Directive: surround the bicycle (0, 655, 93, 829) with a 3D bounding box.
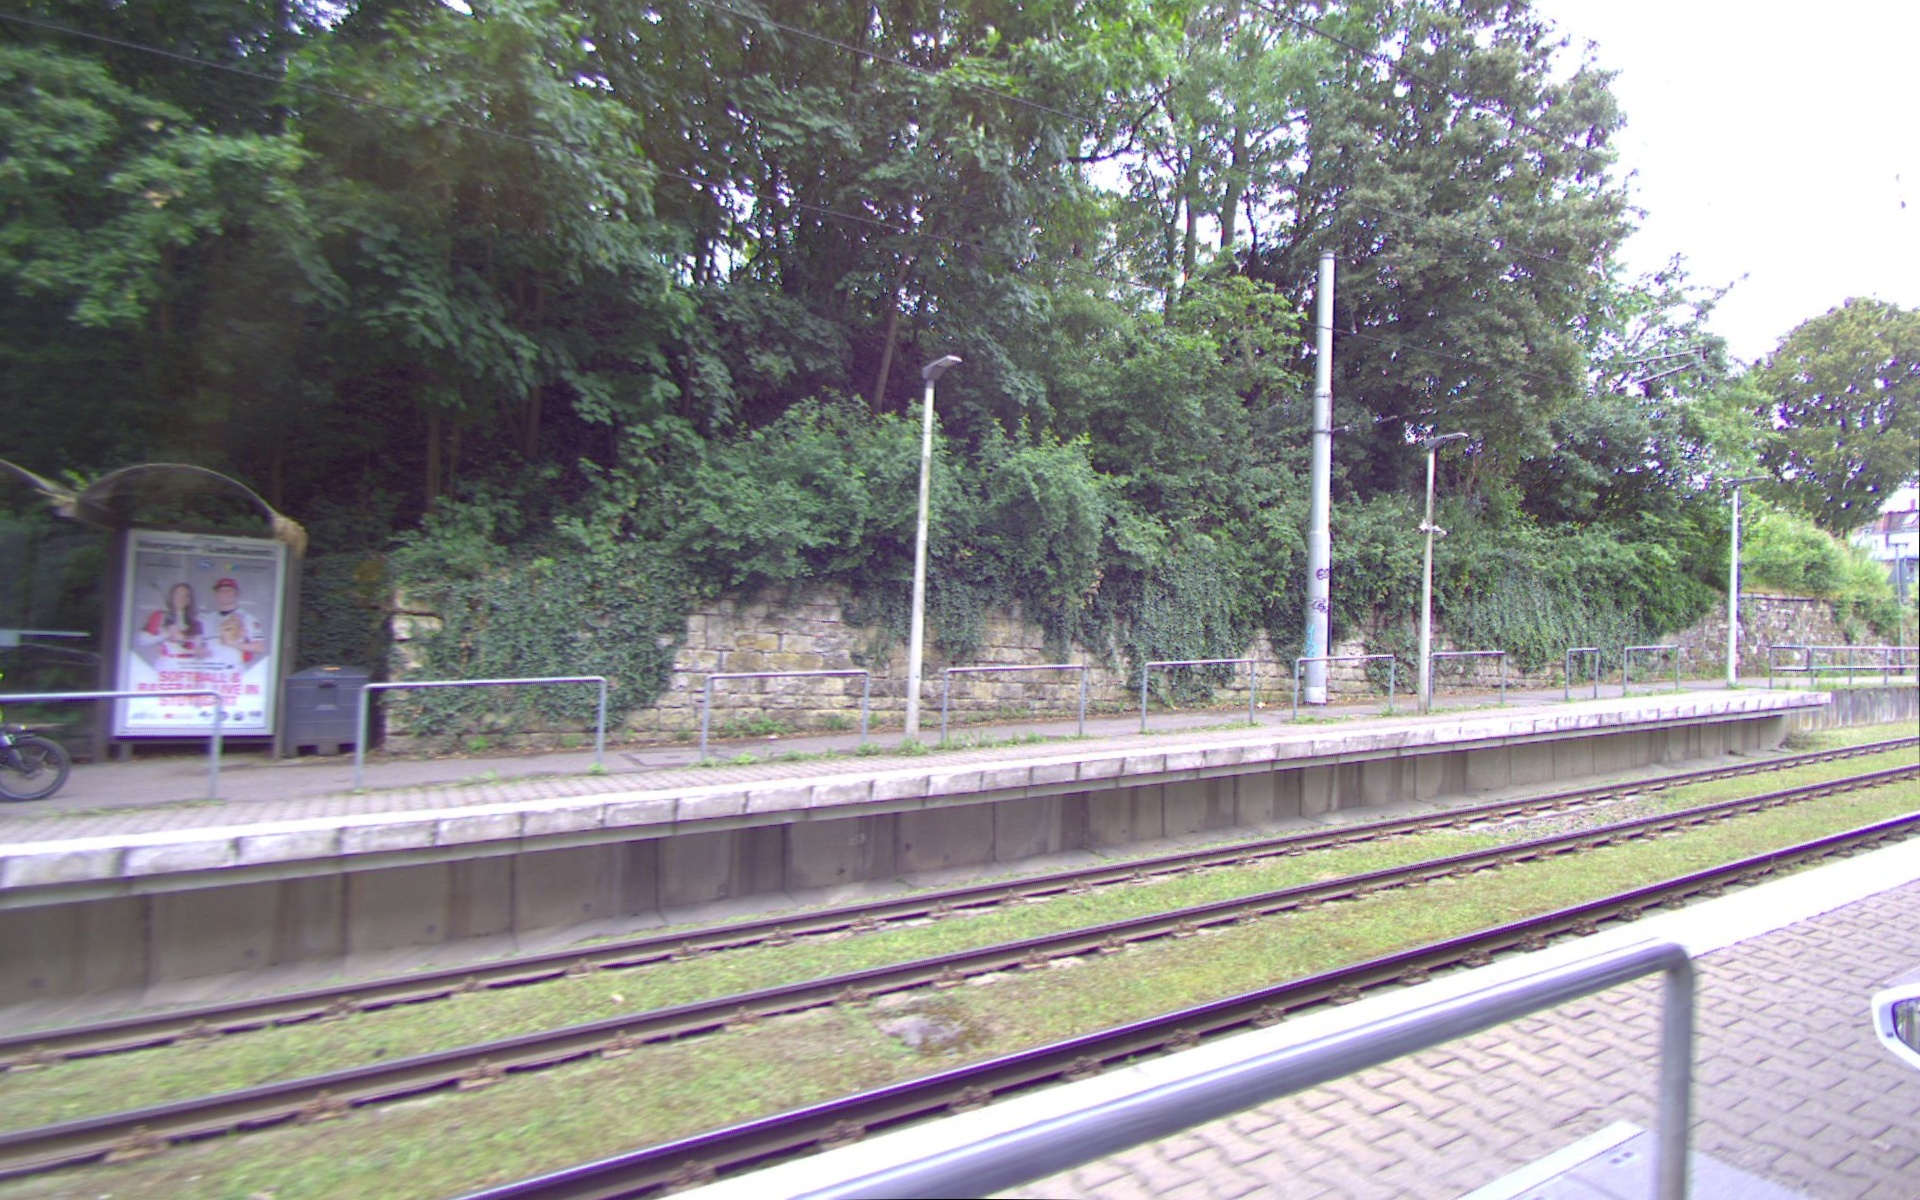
[{"bbox_3d":[-8.326,1.083,7.392,2.829,1.256,0.748,0,1,-27],"label":"bicycle"}]
